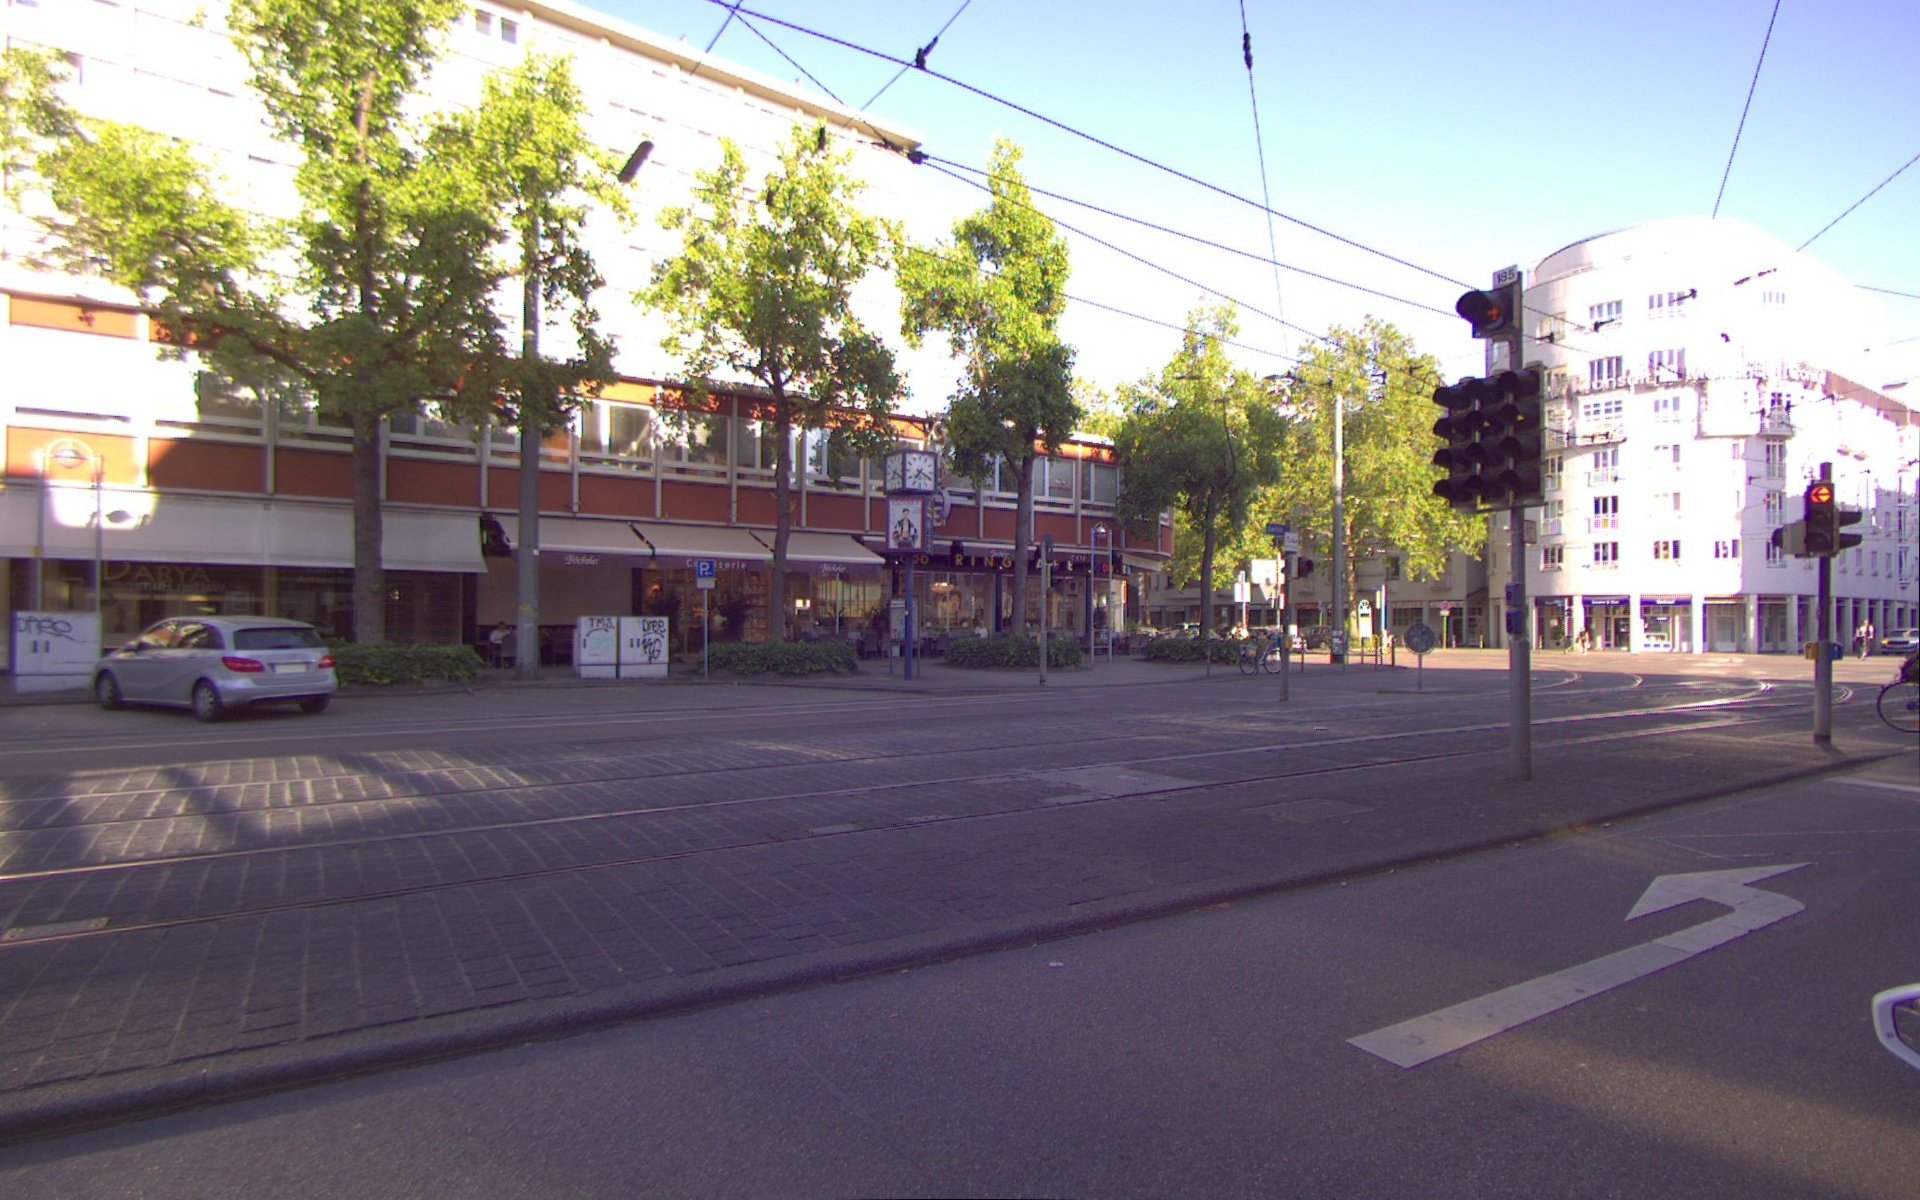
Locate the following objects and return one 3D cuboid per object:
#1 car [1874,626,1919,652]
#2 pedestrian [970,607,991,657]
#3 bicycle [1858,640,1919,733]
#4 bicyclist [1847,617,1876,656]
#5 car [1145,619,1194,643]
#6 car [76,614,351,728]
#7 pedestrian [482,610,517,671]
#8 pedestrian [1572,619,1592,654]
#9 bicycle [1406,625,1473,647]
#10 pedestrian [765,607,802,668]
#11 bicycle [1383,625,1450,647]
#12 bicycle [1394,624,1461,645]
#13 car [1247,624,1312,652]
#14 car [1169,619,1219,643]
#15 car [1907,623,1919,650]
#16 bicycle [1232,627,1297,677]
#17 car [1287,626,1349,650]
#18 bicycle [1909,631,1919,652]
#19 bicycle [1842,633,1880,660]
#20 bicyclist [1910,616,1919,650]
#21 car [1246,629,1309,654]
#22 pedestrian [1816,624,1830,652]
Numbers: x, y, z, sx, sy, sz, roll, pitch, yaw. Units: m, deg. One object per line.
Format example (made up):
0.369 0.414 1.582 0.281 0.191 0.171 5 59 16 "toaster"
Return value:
58.628 2.409 62.574 3.424 1.566 1.755 1 -2 -33 "car"
0.724 1.132 35.993 0.590 1.745 0.647 0 1 -15 "pedestrian"
13.108 1.164 13.141 1.995 1.193 0.625 1 0 41 "bicycle"
40.565 1.641 45.203 0.786 1.749 0.803 1 -1 -34 "bicyclist"
18.224 2.668 87.333 3.955 1.990 1.983 1 -1 -32 "car"
-12.229 1.074 16.445 4.199 1.587 1.826 1 -1 25 "car"
-12.159 1.053 26.515 0.699 1.584 0.867 1 -1 -34 "pedestrian"
36.846 2.140 59.520 0.930 2.040 0.939 0 -1 29 "pedestrian"
35.345 2.649 74.198 1.054 1.550 4.682 1 -2 -30 "bicycle"
-5.144 1.081 29.286 0.866 1.745 0.699 0 1 -35 "pedestrian"
33.050 2.586 72.856 1.054 1.550 4.682 1 -2 -30 "bicycle"
34.071 2.499 73.344 1.054 1.550 4.682 1 -2 -30 "bicycle"
19.096 2.256 60.236 1.606 1.579 3.999 0 -2 -21 "car"
19.759 2.629 84.856 3.955 1.990 1.983 1 -1 -32 "car"
64.760 2.422 66.942 3.528 1.741 1.690 1 -2 -35 "car"
8.724 1.471 28.741 1.884 1.345 0.667 1 2 -32 "bicycle"
24.356 2.552 68.469 1.596 1.551 3.971 0 -1 -28 "car"
53.146 2.282 55.592 0.798 1.162 2.000 -1 -2 41 "bicycle"
40.494 2.089 45.144 2.028 1.162 0.802 1 -2 -34 "bicycle"
52.978 1.830 55.399 0.798 1.845 0.988 -1 -2 41 "bicyclist"
17.349 2.270 55.026 1.738 1.312 4.013 0 -2 -8 "car"
52.012 2.292 60.536 0.482 1.704 0.519 1 -1 -41 "pedestrian"
